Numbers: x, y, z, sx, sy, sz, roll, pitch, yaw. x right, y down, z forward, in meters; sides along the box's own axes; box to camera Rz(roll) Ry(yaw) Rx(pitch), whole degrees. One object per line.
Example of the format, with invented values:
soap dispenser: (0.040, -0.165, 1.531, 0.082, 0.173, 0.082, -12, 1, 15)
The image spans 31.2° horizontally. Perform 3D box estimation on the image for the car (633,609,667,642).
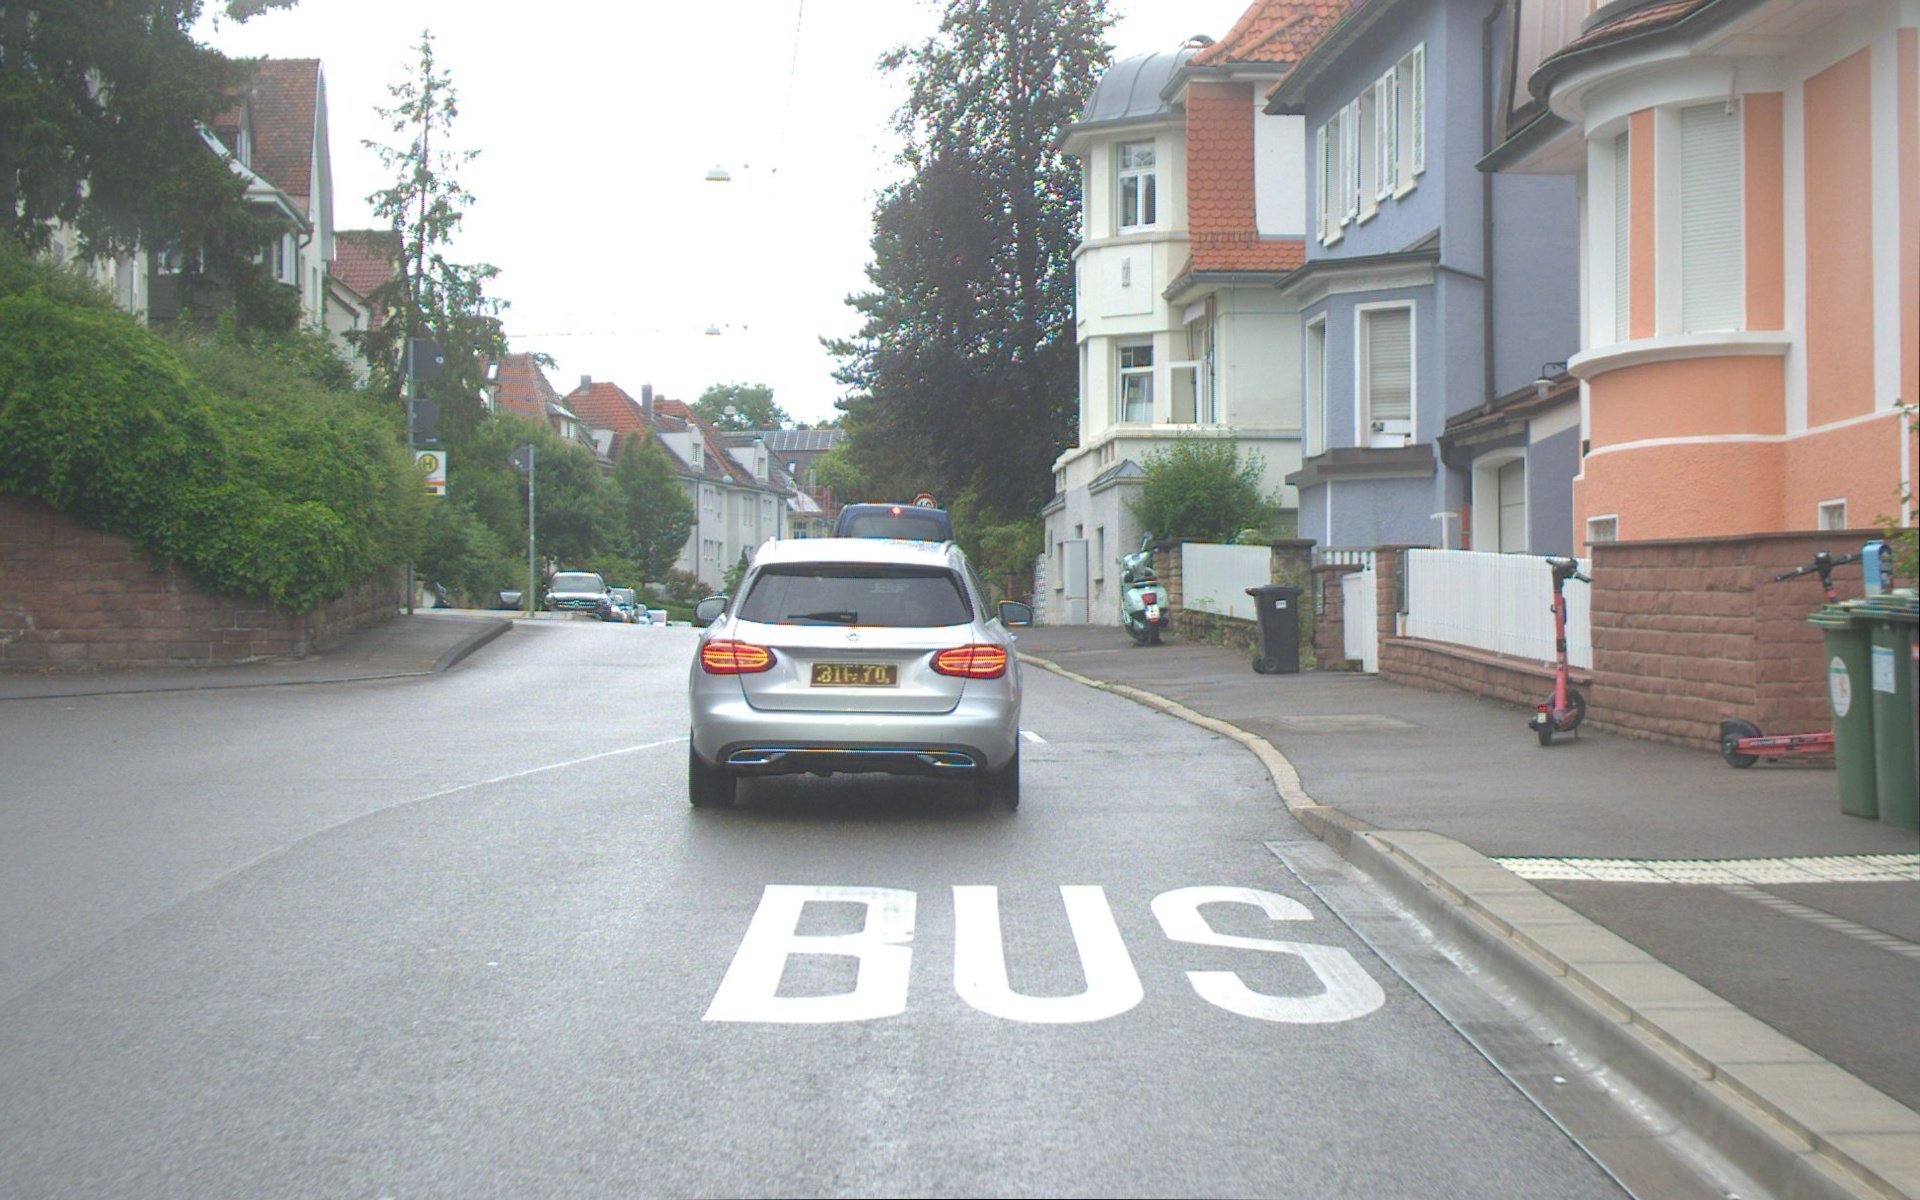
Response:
car: (-13.521, 1.101, 150.168, 1.428, 1.309, 3.407, 0, 1, -4)

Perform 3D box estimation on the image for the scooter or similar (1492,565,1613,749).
scooter or similar: (4.106, 0.376, 23.900, 0.693, 1.220, 1.299, 1, 1, 5)

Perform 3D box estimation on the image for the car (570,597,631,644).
car: (-11.298, 0.634, 108.123, 1.757, 1.309, 3.684, 2, 1, -4)

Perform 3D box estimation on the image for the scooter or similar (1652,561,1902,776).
scooter or similar: (4.798, 0.401, 20.188, 1.260, 1.220, 0.694, -2, 0, 30)

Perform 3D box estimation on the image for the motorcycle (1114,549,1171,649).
motorcycle: (2.395, -0.031, 45.277, 0.582, 1.257, 2.331, -1, 1, 0)

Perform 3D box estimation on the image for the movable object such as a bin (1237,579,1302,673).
movable object such as a bin: (3.197, 0.263, 35.552, 0.549, 0.932, 0.634, -2, 1, -3)

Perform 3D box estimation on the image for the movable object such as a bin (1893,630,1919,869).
movable object such as a bin: (4.272, 0.626, 13.995, 0.569, 0.965, 0.670, 2, 1, -35)

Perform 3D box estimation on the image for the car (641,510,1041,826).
car: (-0.673, 0.305, 19.592, 1.982, 1.548, 4.298, 2, 1, -2)

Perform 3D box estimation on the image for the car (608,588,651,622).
car: (-13.428, 0.198, 139.764, 1.636, 1.309, 3.476, 0, 1, -4)

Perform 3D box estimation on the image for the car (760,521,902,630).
car: (-1.883, -0.397, 50.599, 1.993, 1.534, 4.333, 0, 1, -2)

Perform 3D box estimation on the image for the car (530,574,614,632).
car: (-10.532, 0.070, 93.594, 2.116, 1.466, 4.018, 1, 1, -4)

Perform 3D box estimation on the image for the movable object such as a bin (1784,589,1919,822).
movable object such as a bin: (4.296, 0.476, 15.947, 0.711, 1.026, 0.757, -1, 1, -4)

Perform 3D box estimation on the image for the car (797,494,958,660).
car: (-0.964, -0.309, 41.111, 1.824, 1.876, 4.095, 0, 1, -1)
